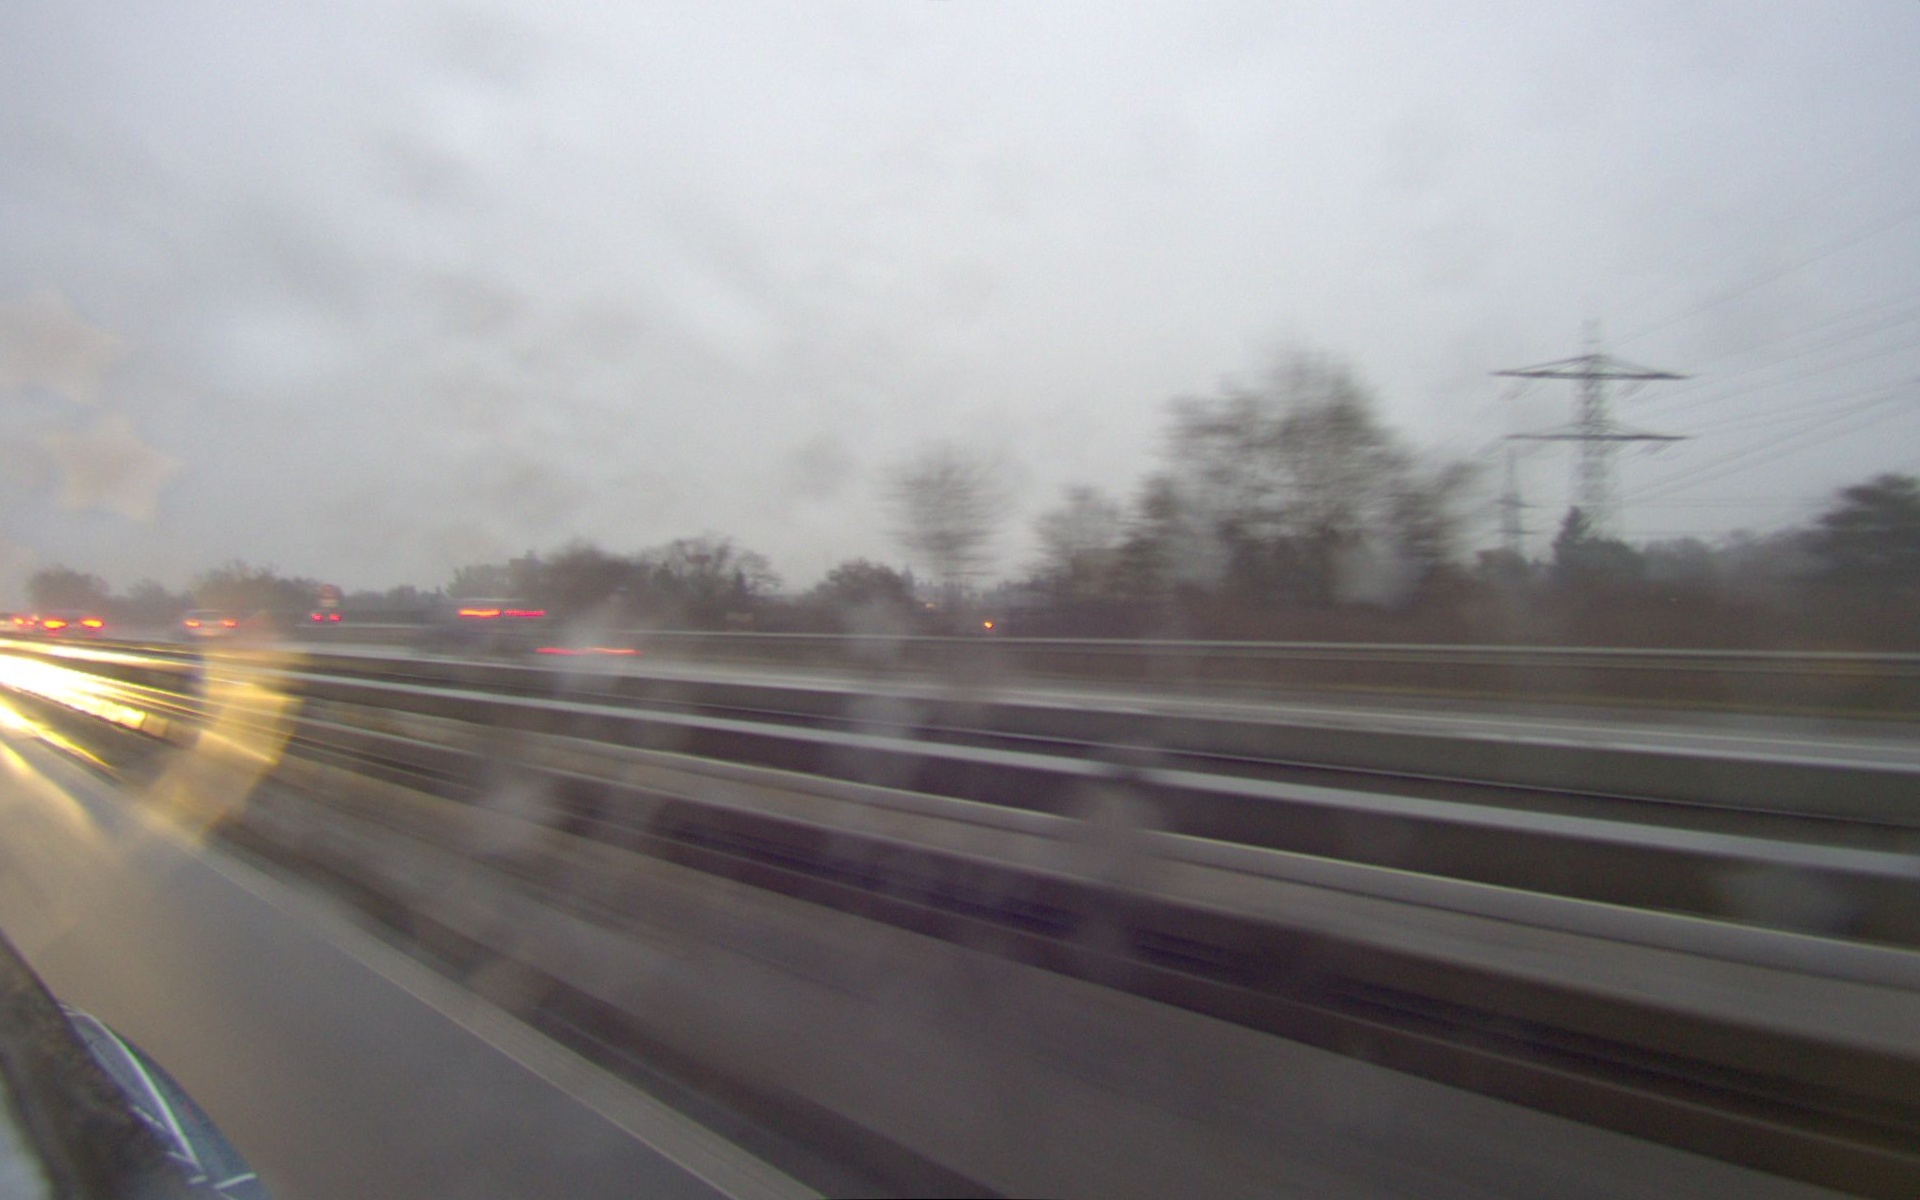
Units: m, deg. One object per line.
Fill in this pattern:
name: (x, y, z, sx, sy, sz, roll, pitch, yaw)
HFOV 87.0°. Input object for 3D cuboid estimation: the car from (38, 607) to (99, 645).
car: (-38.971, 1.166, 44.185, 1.796, 1.563, 4.471, 0, -2, -44)

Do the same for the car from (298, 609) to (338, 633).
car: (-56.050, 1.844, 88.369, 3.999, 2.029, 1.972, -2, -1, 42)

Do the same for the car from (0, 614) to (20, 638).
car: (-65.040, 1.765, 68.373, 4.136, 1.563, 1.972, -3, -2, 43)

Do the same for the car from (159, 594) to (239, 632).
car: (-34.233, 0.620, 45.486, 4.388, 1.563, 1.964, -3, -2, 40)

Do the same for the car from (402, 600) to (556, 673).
car: (-13.175, 0.946, 27.609, 4.845, 1.805, 2.049, -1, -1, 41)
